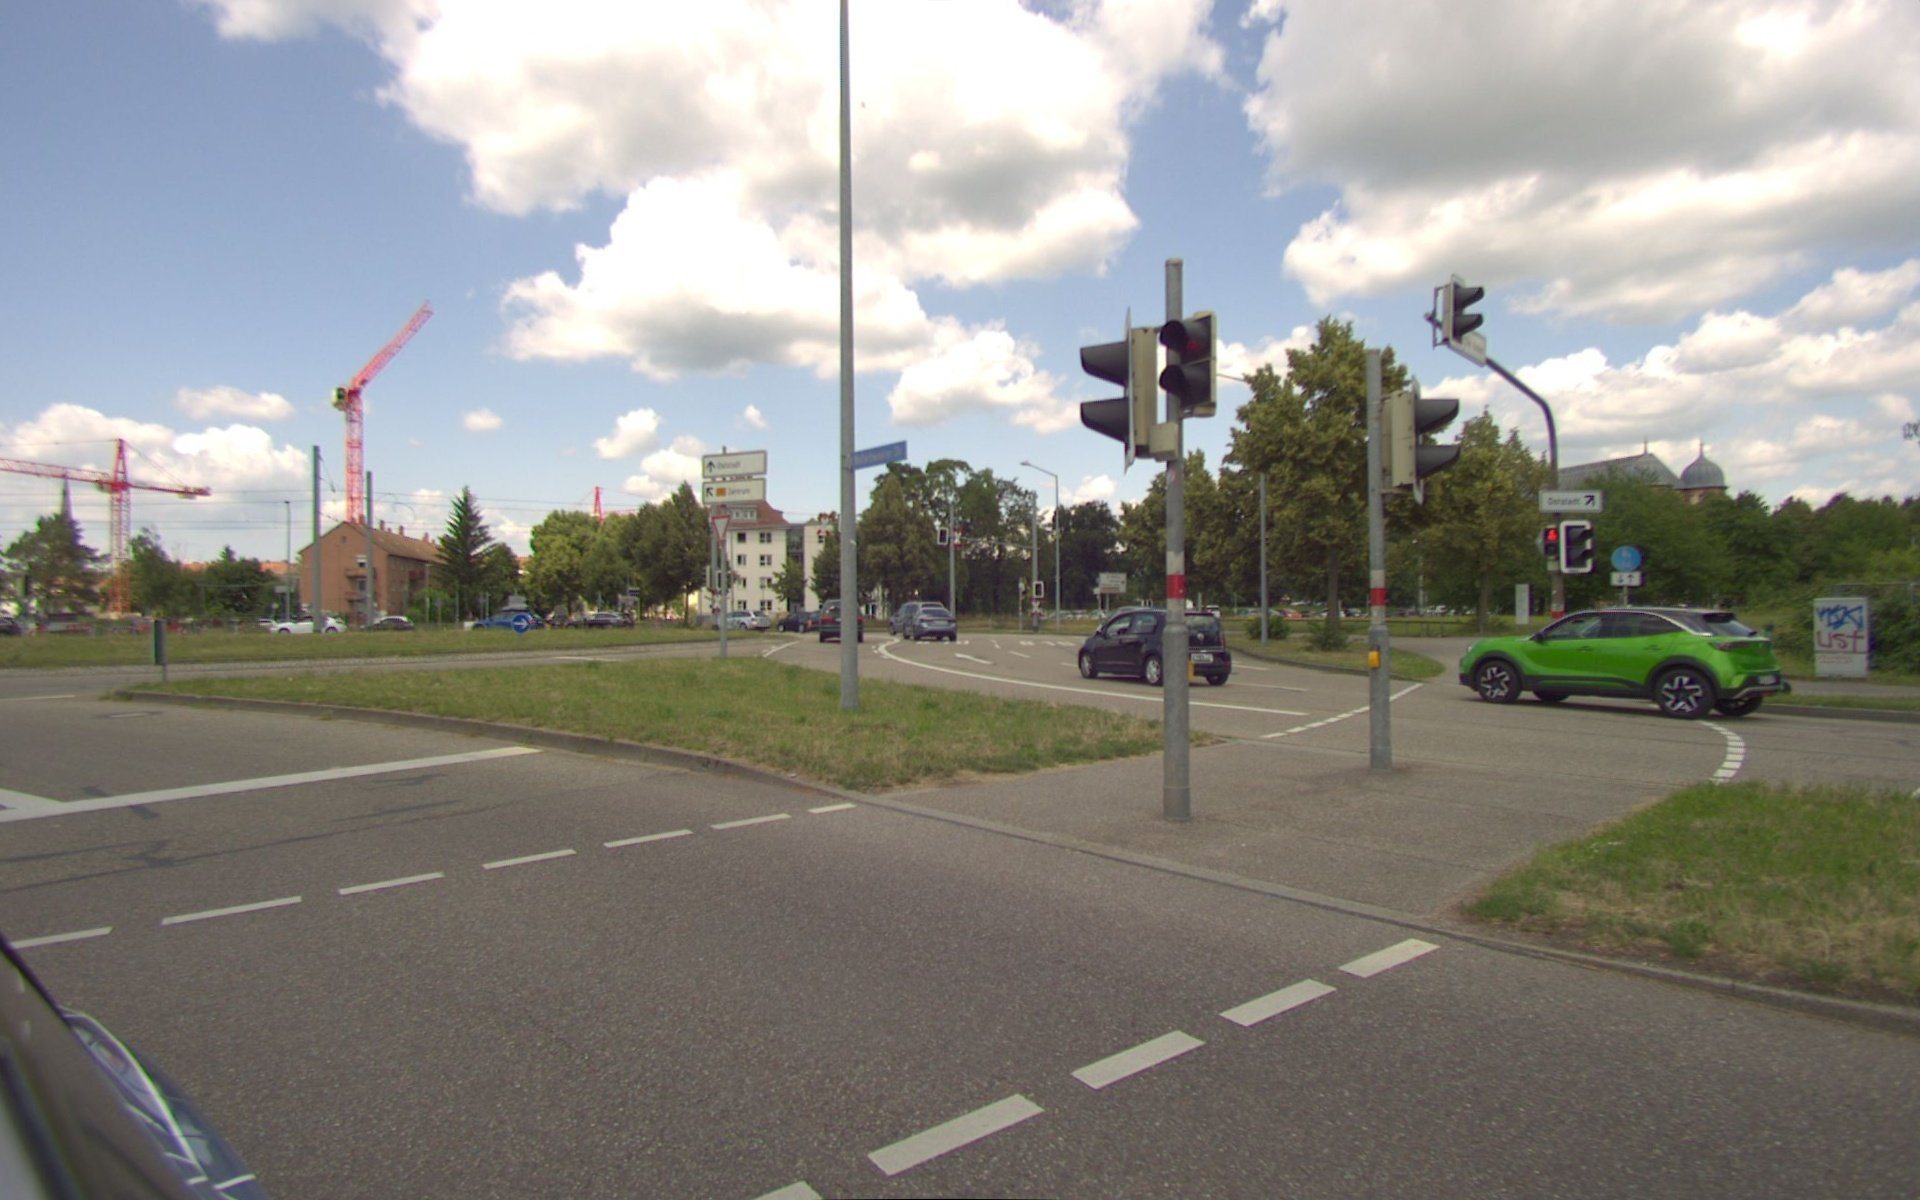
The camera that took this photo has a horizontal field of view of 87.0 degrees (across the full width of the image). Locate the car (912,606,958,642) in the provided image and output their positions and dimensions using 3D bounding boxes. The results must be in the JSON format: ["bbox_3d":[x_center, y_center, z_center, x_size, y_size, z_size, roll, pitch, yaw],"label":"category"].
[{"bbox_3d":[-1.126,1.018,43.821,1.884,1.434,4.193,-1,-1,-2],"label":"car"}]

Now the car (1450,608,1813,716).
[{"bbox_3d":[9.682,0.843,14.944,1.594,1.358,4.181,2,-2,-34],"label":"car"}]

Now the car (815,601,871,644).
[{"bbox_3d":[-4.687,0.889,41.115,1.886,1.604,4.594,-1,-1,-2],"label":"car"}]

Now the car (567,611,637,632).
[{"bbox_3d":[-25.091,1.506,70.902,4.462,1.333,1.939,-2,-1,23],"label":"car"}]

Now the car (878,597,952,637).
[{"bbox_3d":[-2.436,0.906,53.758,1.966,2.029,4.802,-1,-1,-29],"label":"car"}]

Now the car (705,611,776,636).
[{"bbox_3d":[-14.390,1.568,66.349,4.498,1.533,2.098,-2,-1,36],"label":"car"}]

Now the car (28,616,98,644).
[{"bbox_3d":[-75.108,2.501,84.721,6.810,2.214,2.371,-2,-1,30],"label":"car"}]

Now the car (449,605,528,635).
[{"bbox_3d":[-30.749,1.294,66.091,4.347,1.812,1.755,-1,-1,1],"label":"car"}]

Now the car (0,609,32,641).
[{"bbox_3d":[-52.942,1.401,53.779,1.995,1.687,5.011,-2,-1,34],"label":"car"}]

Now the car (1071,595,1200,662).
[{"bbox_3d":[4.835,0.771,28.642,1.967,1.699,4.799,-1,-1,-11],"label":"car"}]

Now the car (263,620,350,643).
[{"bbox_3d":[-41.019,1.949,63.594,4.237,1.339,2.006,-1,-1,-20],"label":"car"}]

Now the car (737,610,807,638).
[{"bbox_3d":[-13.110,1.657,70.410,4.649,1.834,2.101,-2,-1,34],"label":"car"}]

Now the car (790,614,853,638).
[{"bbox_3d":[-8.238,1.560,59.998,1.775,1.351,3.985,2,-3,-41],"label":"car"}]

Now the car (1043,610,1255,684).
[{"bbox_3d":[3.678,0.915,20.685,1.812,1.320,4.803,1,-2,-25],"label":"car"}]

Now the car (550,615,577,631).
[{"bbox_3d":[-45.798,2.631,116.893,2.032,1.638,4.955,-3,1,-12],"label":"car"}]

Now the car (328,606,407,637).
[{"bbox_3d":[-42.015,1.520,71.893,4.644,2.029,2.006,-1,-1,-25],"label":"car"}]

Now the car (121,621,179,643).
[{"bbox_3d":[-72.934,2.917,91.149,5.155,1.866,2.070,-2,-1,25],"label":"car"}]
